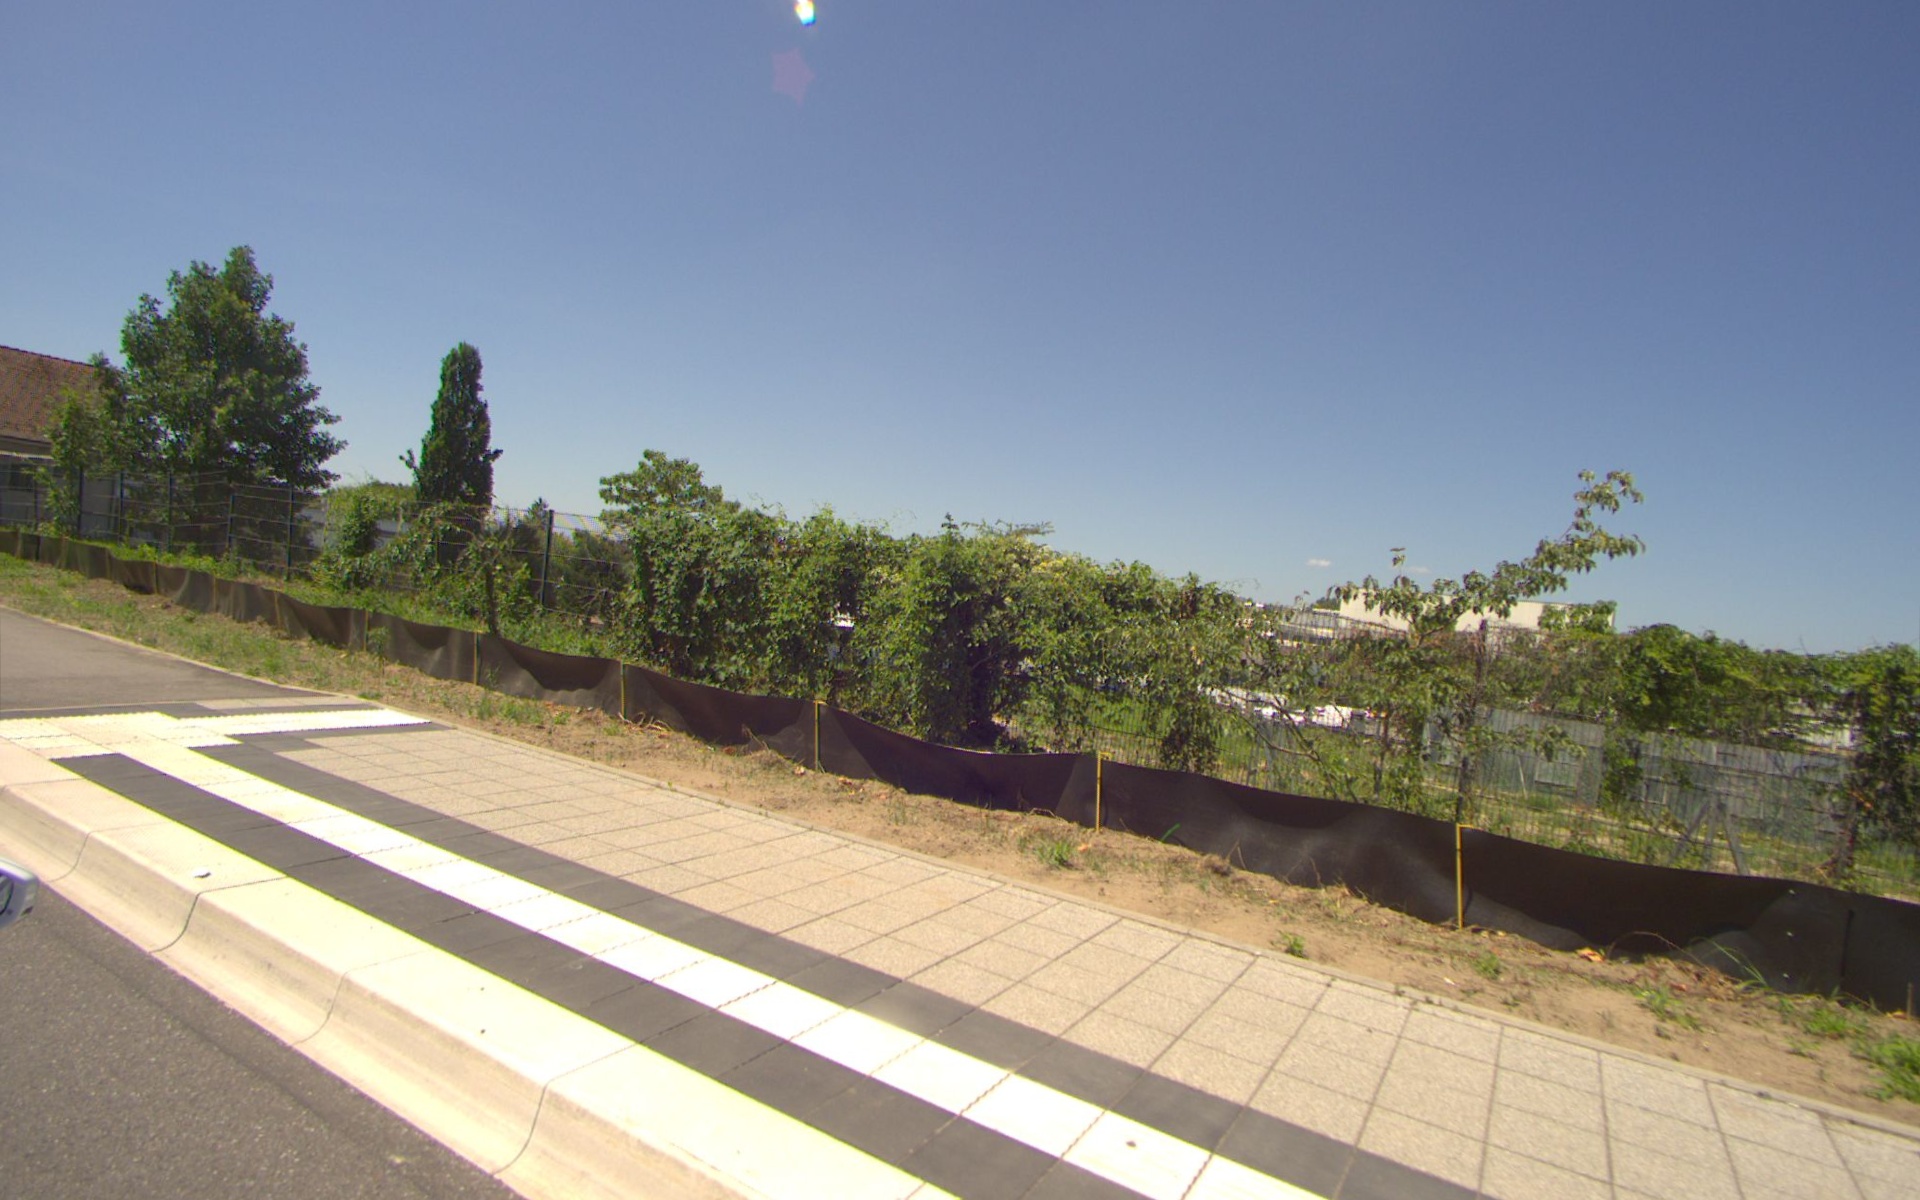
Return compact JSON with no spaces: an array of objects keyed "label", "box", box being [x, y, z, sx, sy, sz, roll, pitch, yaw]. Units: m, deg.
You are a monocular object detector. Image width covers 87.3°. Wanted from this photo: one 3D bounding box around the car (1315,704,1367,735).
[{"label":"car","box":[35.239,11.021,93.226,1.849,2.037,4.319,8,-1,-22]}]
